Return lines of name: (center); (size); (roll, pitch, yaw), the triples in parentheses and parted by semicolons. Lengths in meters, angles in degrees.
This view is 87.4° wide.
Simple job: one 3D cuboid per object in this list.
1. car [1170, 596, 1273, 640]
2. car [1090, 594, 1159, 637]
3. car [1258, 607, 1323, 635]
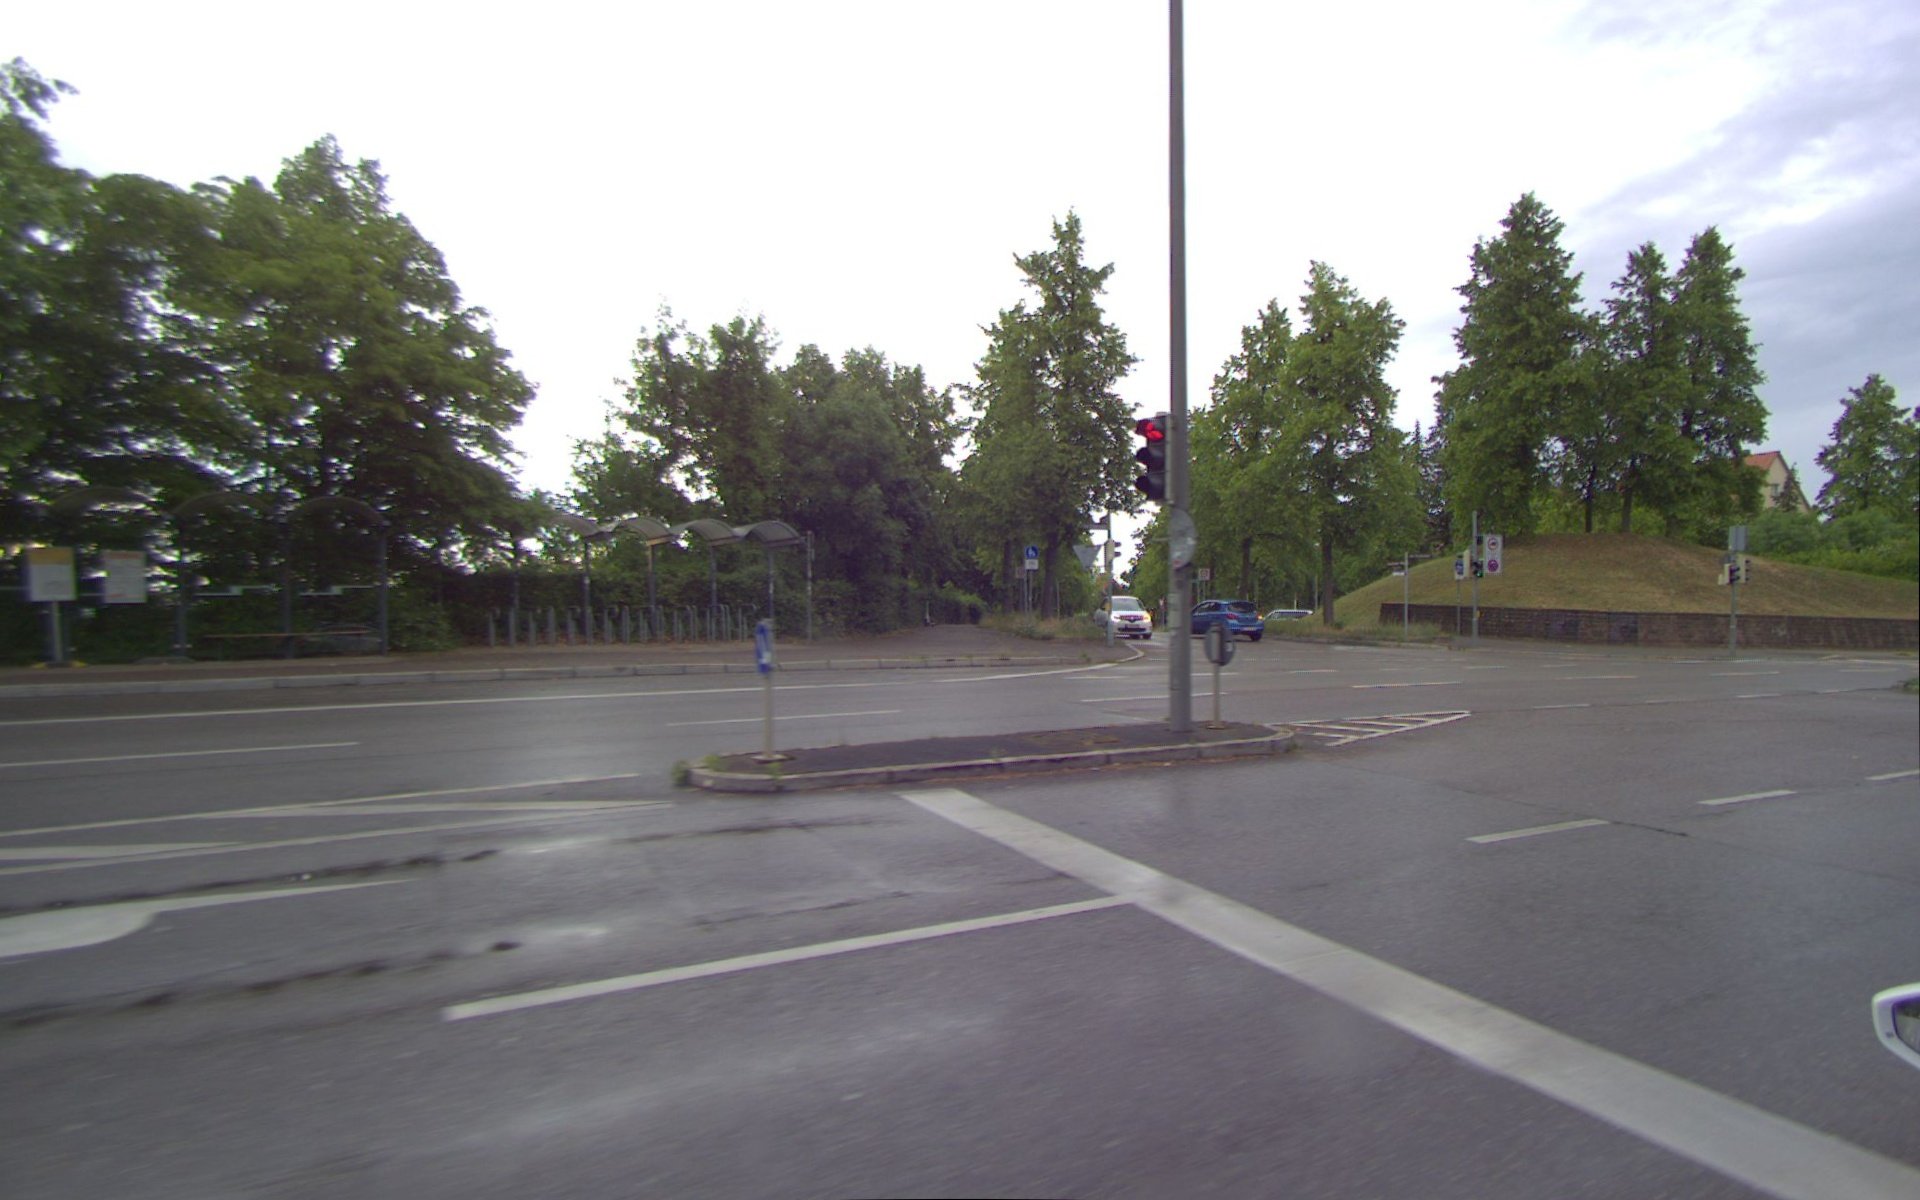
car: (9.764, 0.643, 37.857); (1.968, 1.510, 3.921); (1, 1, -18)
car: (6.162, 0.551, 38.084); (1.728, 1.498, 3.695); (2, 0, -4)
car: (23.454, 1.460, 71.256); (3.936, 1.877, 1.992); (2, 1, 37)
